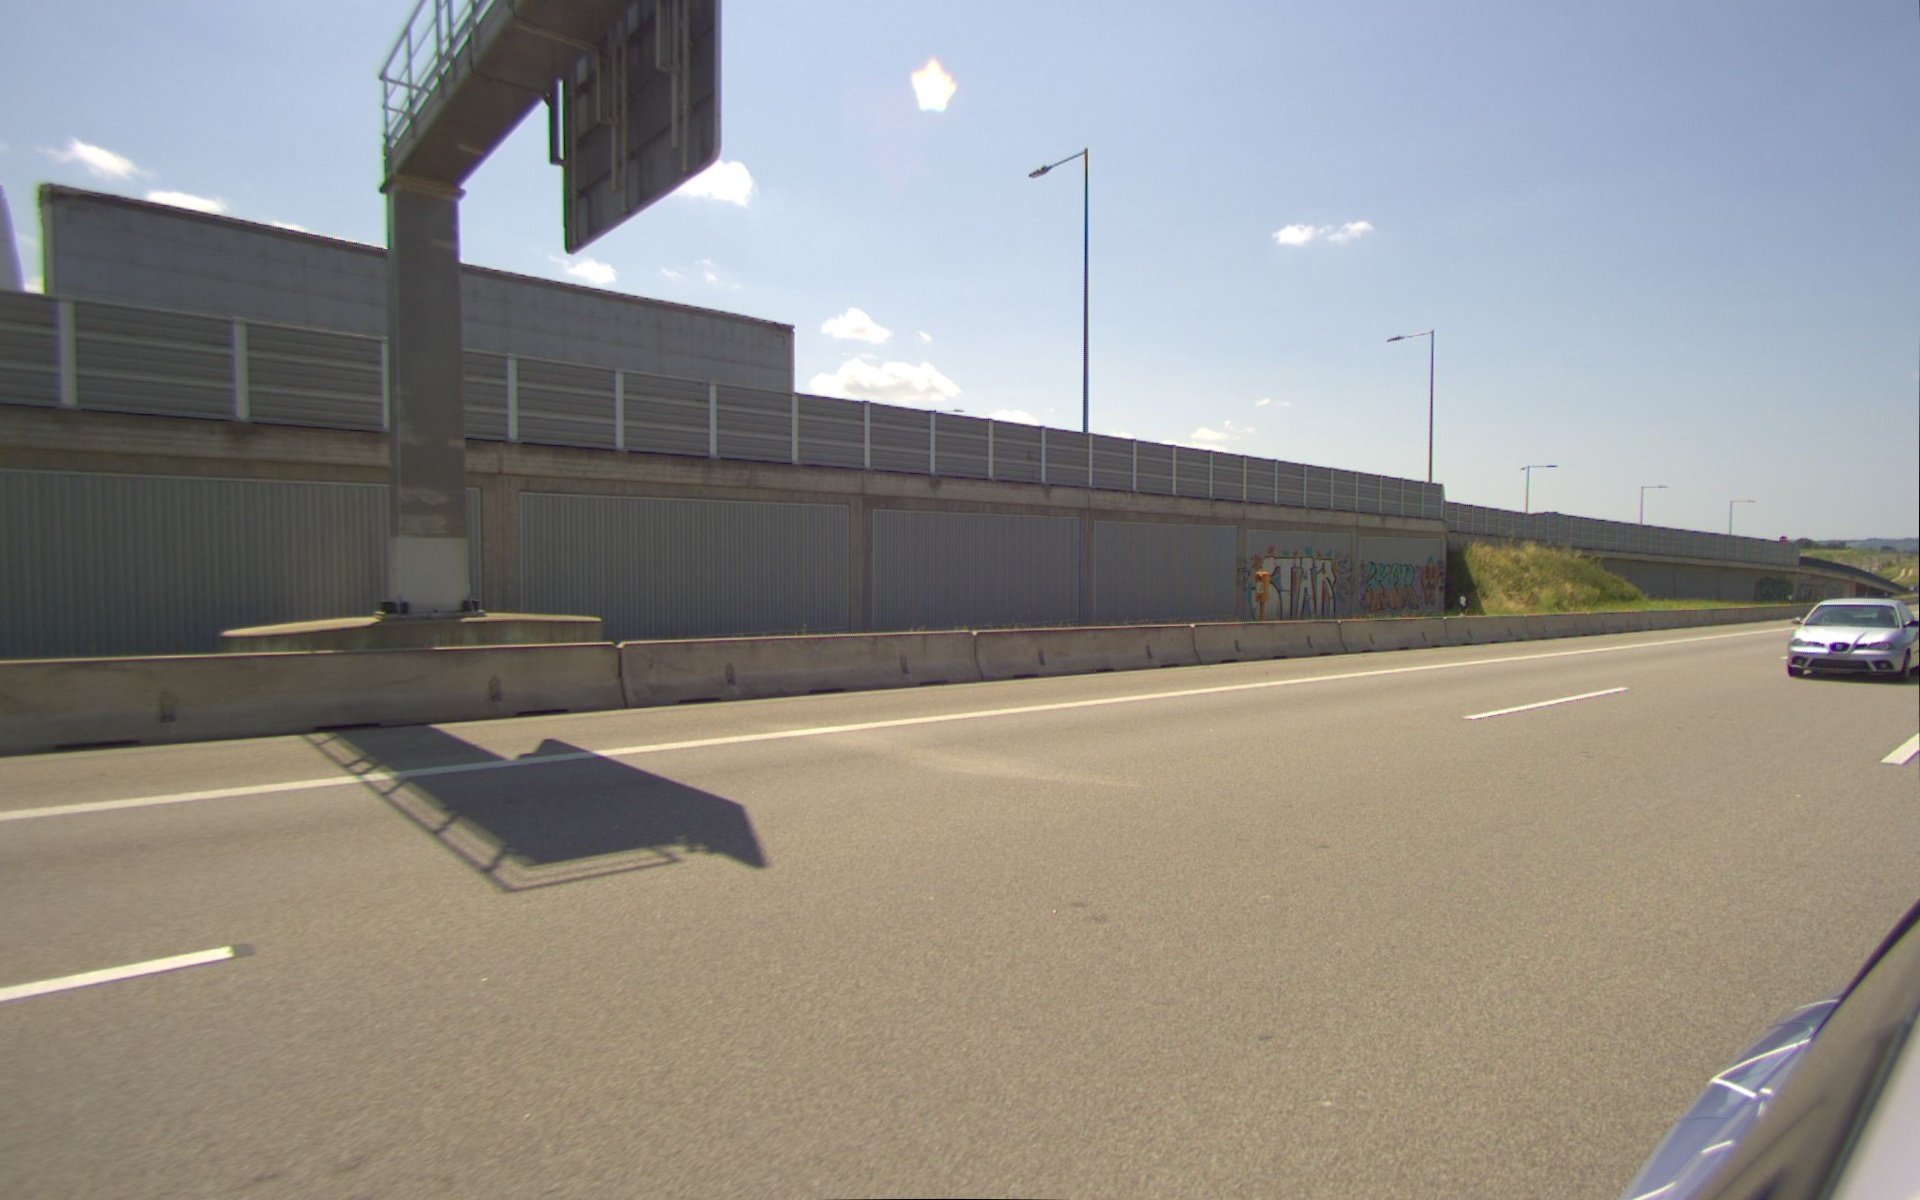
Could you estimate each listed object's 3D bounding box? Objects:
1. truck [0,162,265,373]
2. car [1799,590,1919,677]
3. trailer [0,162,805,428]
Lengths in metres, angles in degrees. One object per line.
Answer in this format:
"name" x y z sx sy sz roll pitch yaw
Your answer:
"truck" -14.957 -5.400 16.290 5.933 2.258 2.727 -1 1 -42
"car" 16.915 0.533 18.691 3.931 1.406 1.633 -1 1 -42
"trailer" -9.953 -5.523 20.848 14.281 2.252 2.723 -1 1 -42
